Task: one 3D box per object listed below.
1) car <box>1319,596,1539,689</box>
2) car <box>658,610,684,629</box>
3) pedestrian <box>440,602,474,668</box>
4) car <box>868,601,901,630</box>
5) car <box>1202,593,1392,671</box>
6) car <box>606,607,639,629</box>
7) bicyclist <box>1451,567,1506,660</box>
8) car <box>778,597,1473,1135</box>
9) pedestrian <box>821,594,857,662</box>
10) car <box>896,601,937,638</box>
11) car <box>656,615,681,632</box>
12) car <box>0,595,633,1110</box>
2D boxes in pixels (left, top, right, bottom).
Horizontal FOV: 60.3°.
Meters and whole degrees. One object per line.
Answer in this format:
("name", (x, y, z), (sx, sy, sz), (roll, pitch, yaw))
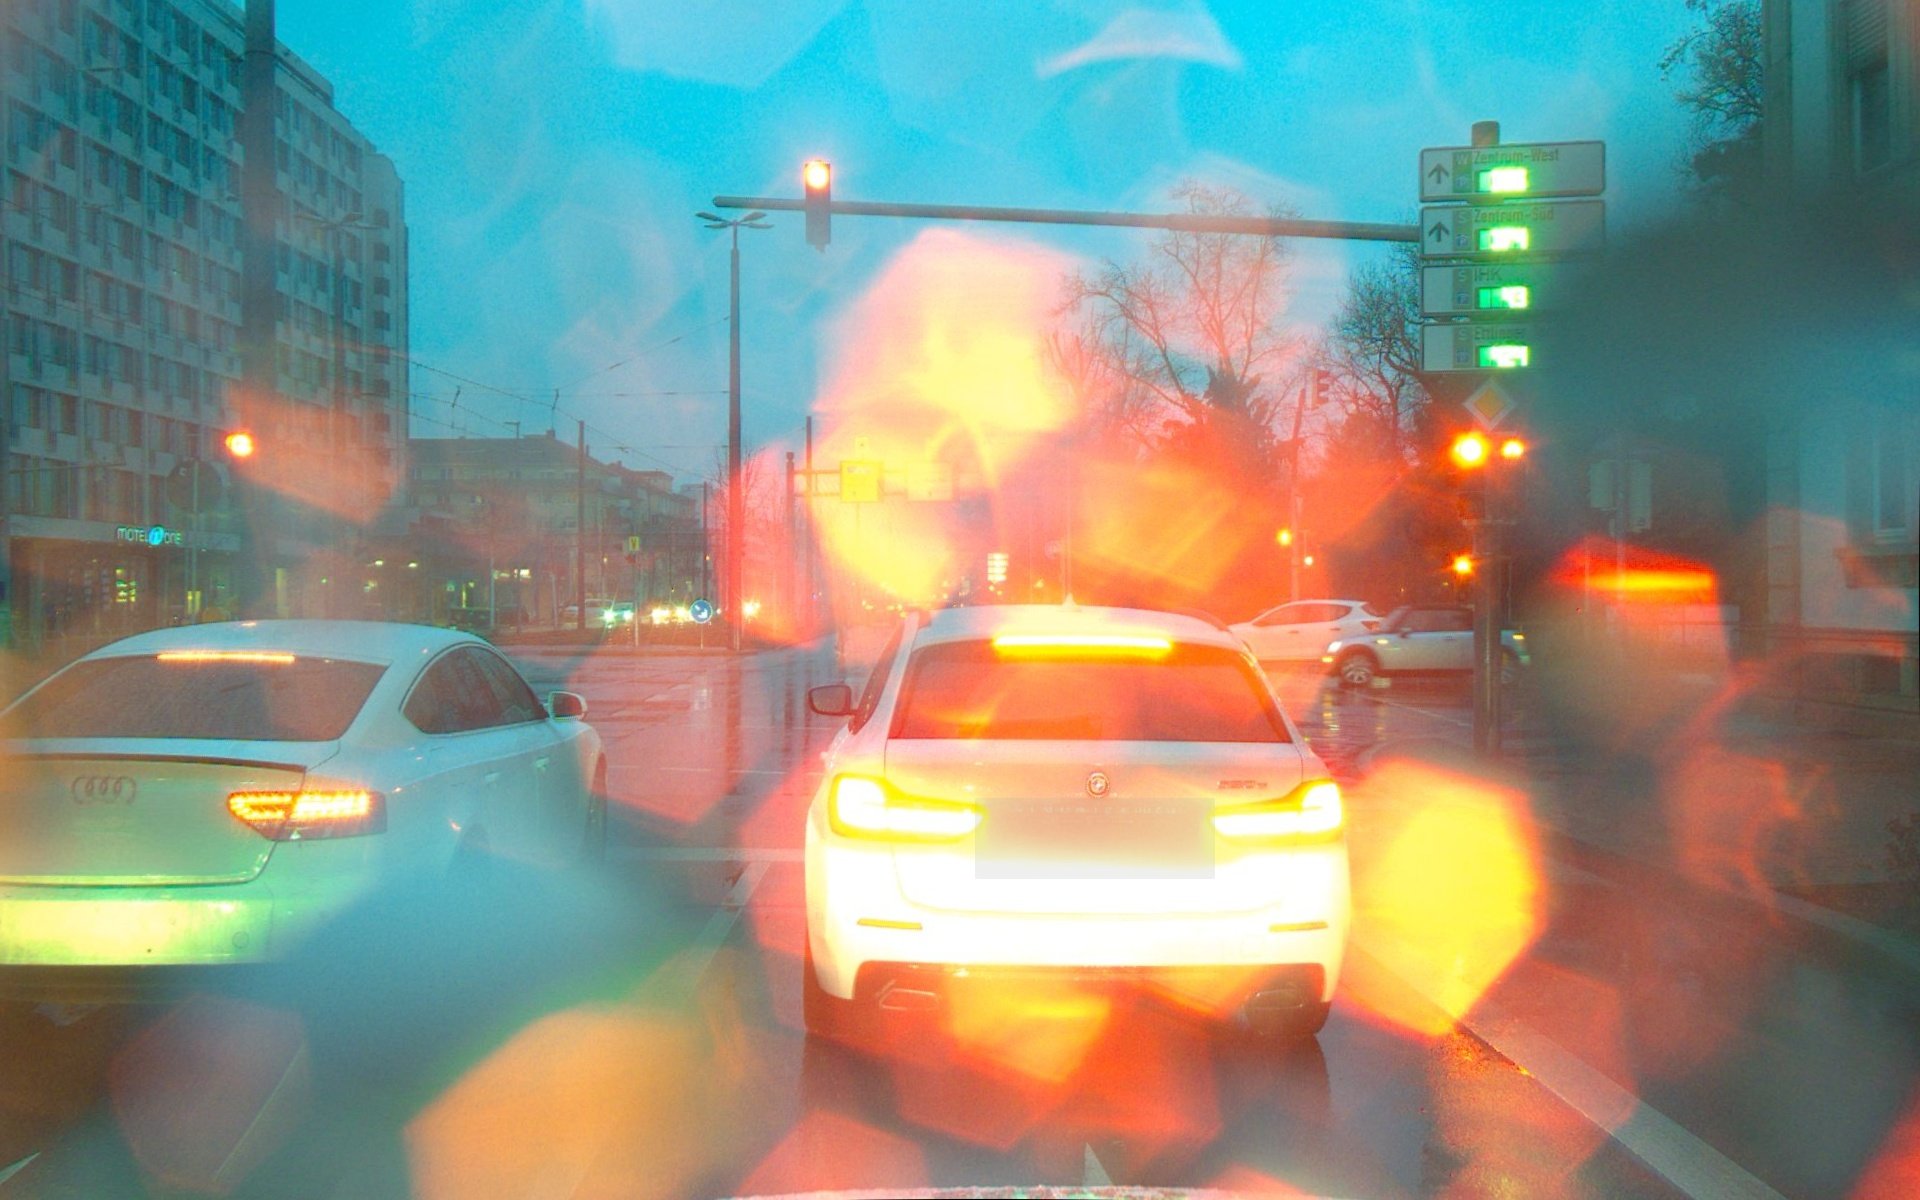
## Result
("car", (8.245, 0.742, 29.334), (3.609, 1.504, 1.630), (1, -1, 11))
("car", (-24.488, 1.641, 140.278), (1.641, 1.534, 3.695), (1, -1, -1))
("pedestrian", (-13.420, 0.927, 44.133), (0.777, 1.741, 0.809), (2, -1, -16))
("car", (-4.484, 0.935, 98.670), (1.806, 1.637, 3.943), (1, -1, -2))
("car", (7.436, 0.698, 36.413), (3.873, 1.581, 1.749), (1, -1, 20))
("car", (-24.487, 1.341, 120.079), (1.641, 1.534, 3.695), (1, -1, -1))
("bicyclist", (10.210, 0.267, 32.603), (0.951, 1.789, 0.814), (1, -1, 15))
("car", (0.376, 0.738, 6.817), (1.954, 1.481, 4.366), (0, 0, -3))
("pedestrian", (-3.417, 0.797, 46.749), (0.886, 1.888, 0.810), (2, -1, -11))
("car", (-1.995, 0.901, 75.836), (1.806, 1.637, 3.943), (1, -1, -2))
("car", (-27.089, 2.211, 153.784), (1.641, 1.534, 3.695), (1, -1, -1))
("car", (-2.706, 0.730, 6.988), (1.954, 1.481, 4.366), (0, 0, -3))
